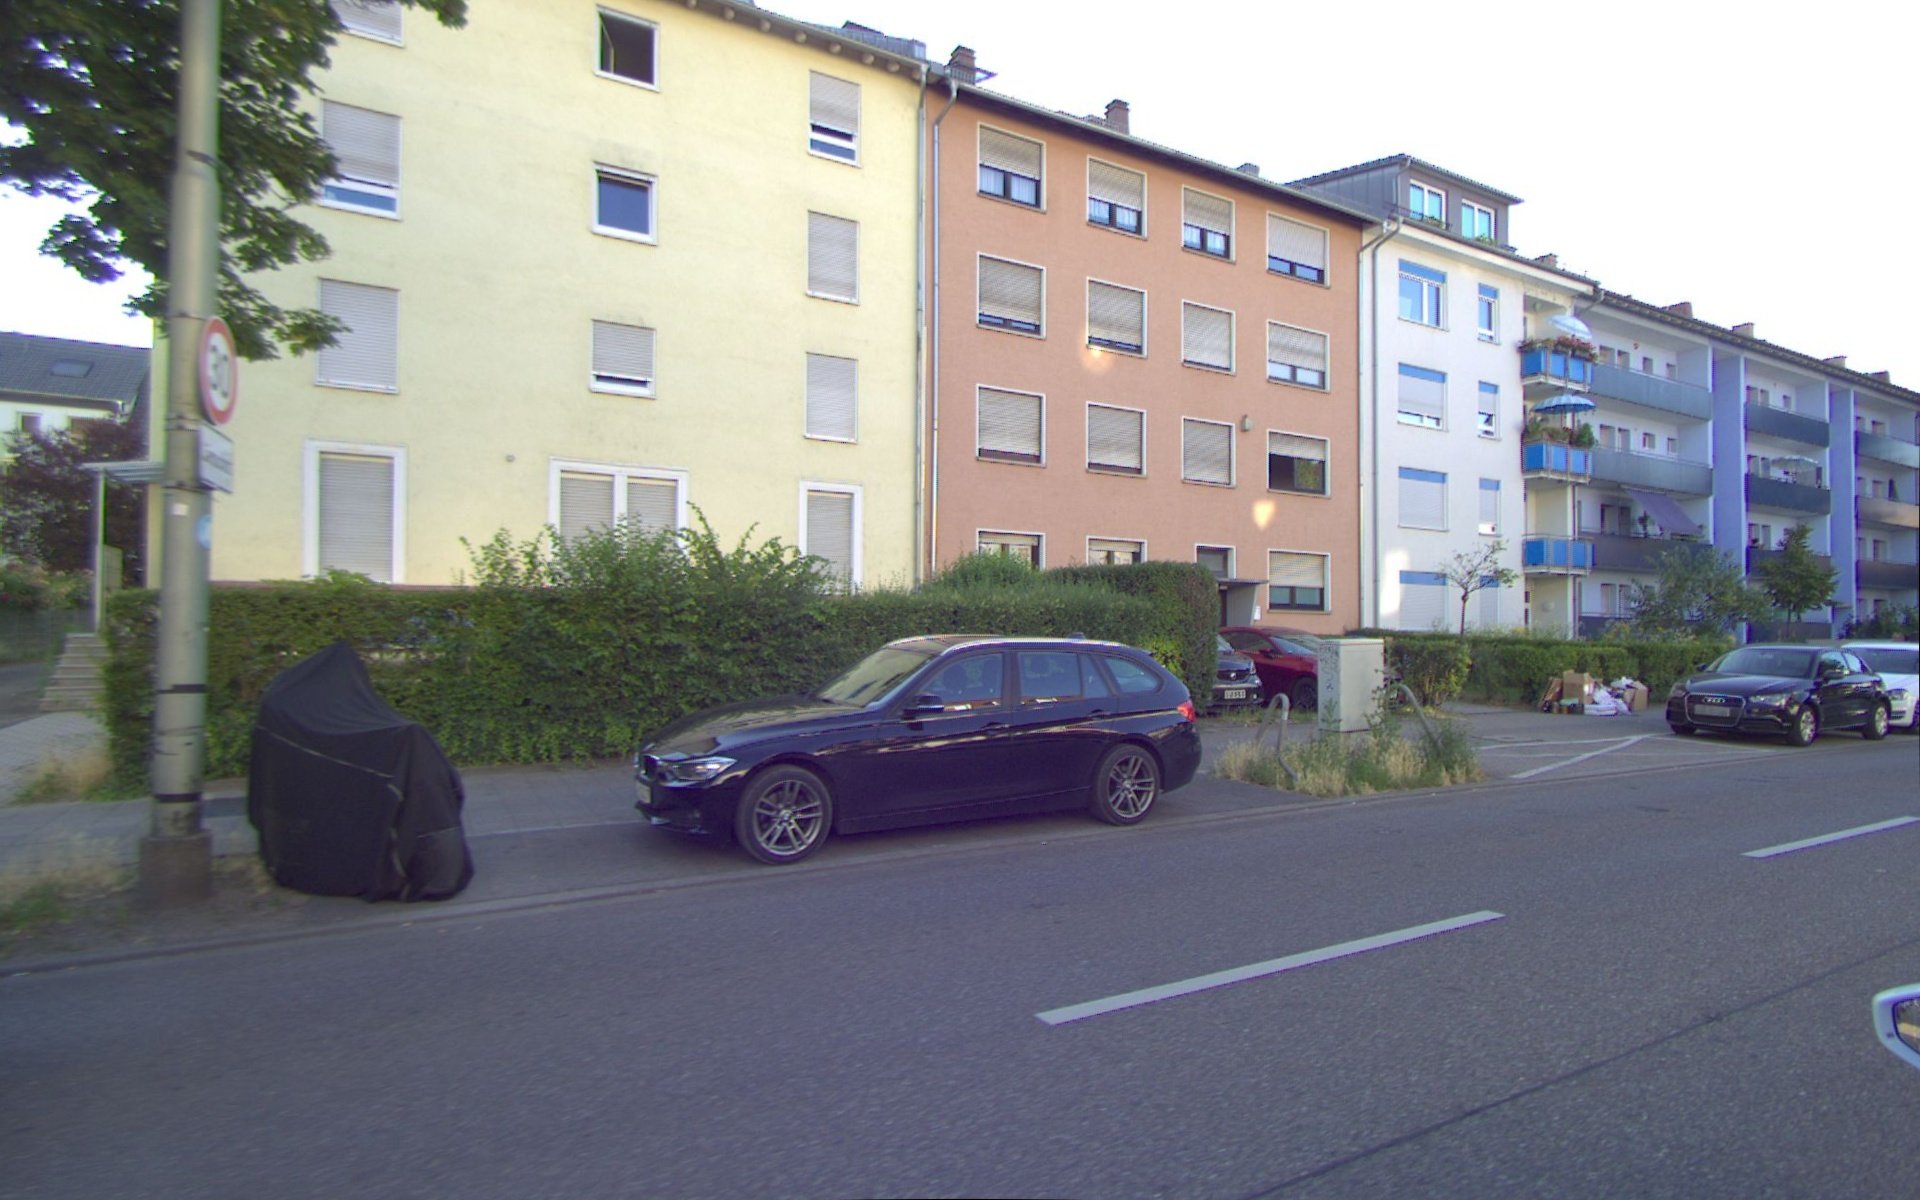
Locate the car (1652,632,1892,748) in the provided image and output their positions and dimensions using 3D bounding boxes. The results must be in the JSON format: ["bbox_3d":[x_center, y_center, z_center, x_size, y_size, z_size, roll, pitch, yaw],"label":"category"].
[{"bbox_3d":[12.338,1.281,15.223,3.768,1.492,1.604,1,0,-31],"label":"car"}]

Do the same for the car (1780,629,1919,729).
[{"bbox_3d":[16.545,1.328,17.862,4.010,1.512,1.698,1,1,-30],"label":"car"}]

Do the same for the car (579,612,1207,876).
[{"bbox_3d":[-0.391,0.894,7.740,4.535,1.524,1.770,2,-1,-30],"label":"car"}]

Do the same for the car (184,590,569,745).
[{"bbox_3d":[-7.257,0.811,12.850,3.954,1.705,1.818,2,-1,-31],"label":"car"}]

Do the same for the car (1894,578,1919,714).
[{"bbox_3d":[22.023,0.974,20.837,7.023,2.651,1.983,1,0,-31],"label":"car"}]

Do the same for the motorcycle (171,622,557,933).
[{"bbox_3d":[-3.428,0.881,5.759,1.991,1.407,0.989,2,0,29],"label":"motorcycle"}]

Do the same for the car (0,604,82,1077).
[{"bbox_3d":[-4.822,0.707,2.056,4.243,1.490,1.692,2,-3,-30],"label":"car"}]

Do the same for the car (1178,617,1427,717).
[{"bbox_3d":[5.963,1.104,17.942,1.893,1.432,3.969,1,0,-29],"label":"car"}]

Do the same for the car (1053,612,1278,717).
[{"bbox_3d":[3.395,1.012,17.330,1.610,1.549,3.969,1,-1,-29],"label":"car"}]
